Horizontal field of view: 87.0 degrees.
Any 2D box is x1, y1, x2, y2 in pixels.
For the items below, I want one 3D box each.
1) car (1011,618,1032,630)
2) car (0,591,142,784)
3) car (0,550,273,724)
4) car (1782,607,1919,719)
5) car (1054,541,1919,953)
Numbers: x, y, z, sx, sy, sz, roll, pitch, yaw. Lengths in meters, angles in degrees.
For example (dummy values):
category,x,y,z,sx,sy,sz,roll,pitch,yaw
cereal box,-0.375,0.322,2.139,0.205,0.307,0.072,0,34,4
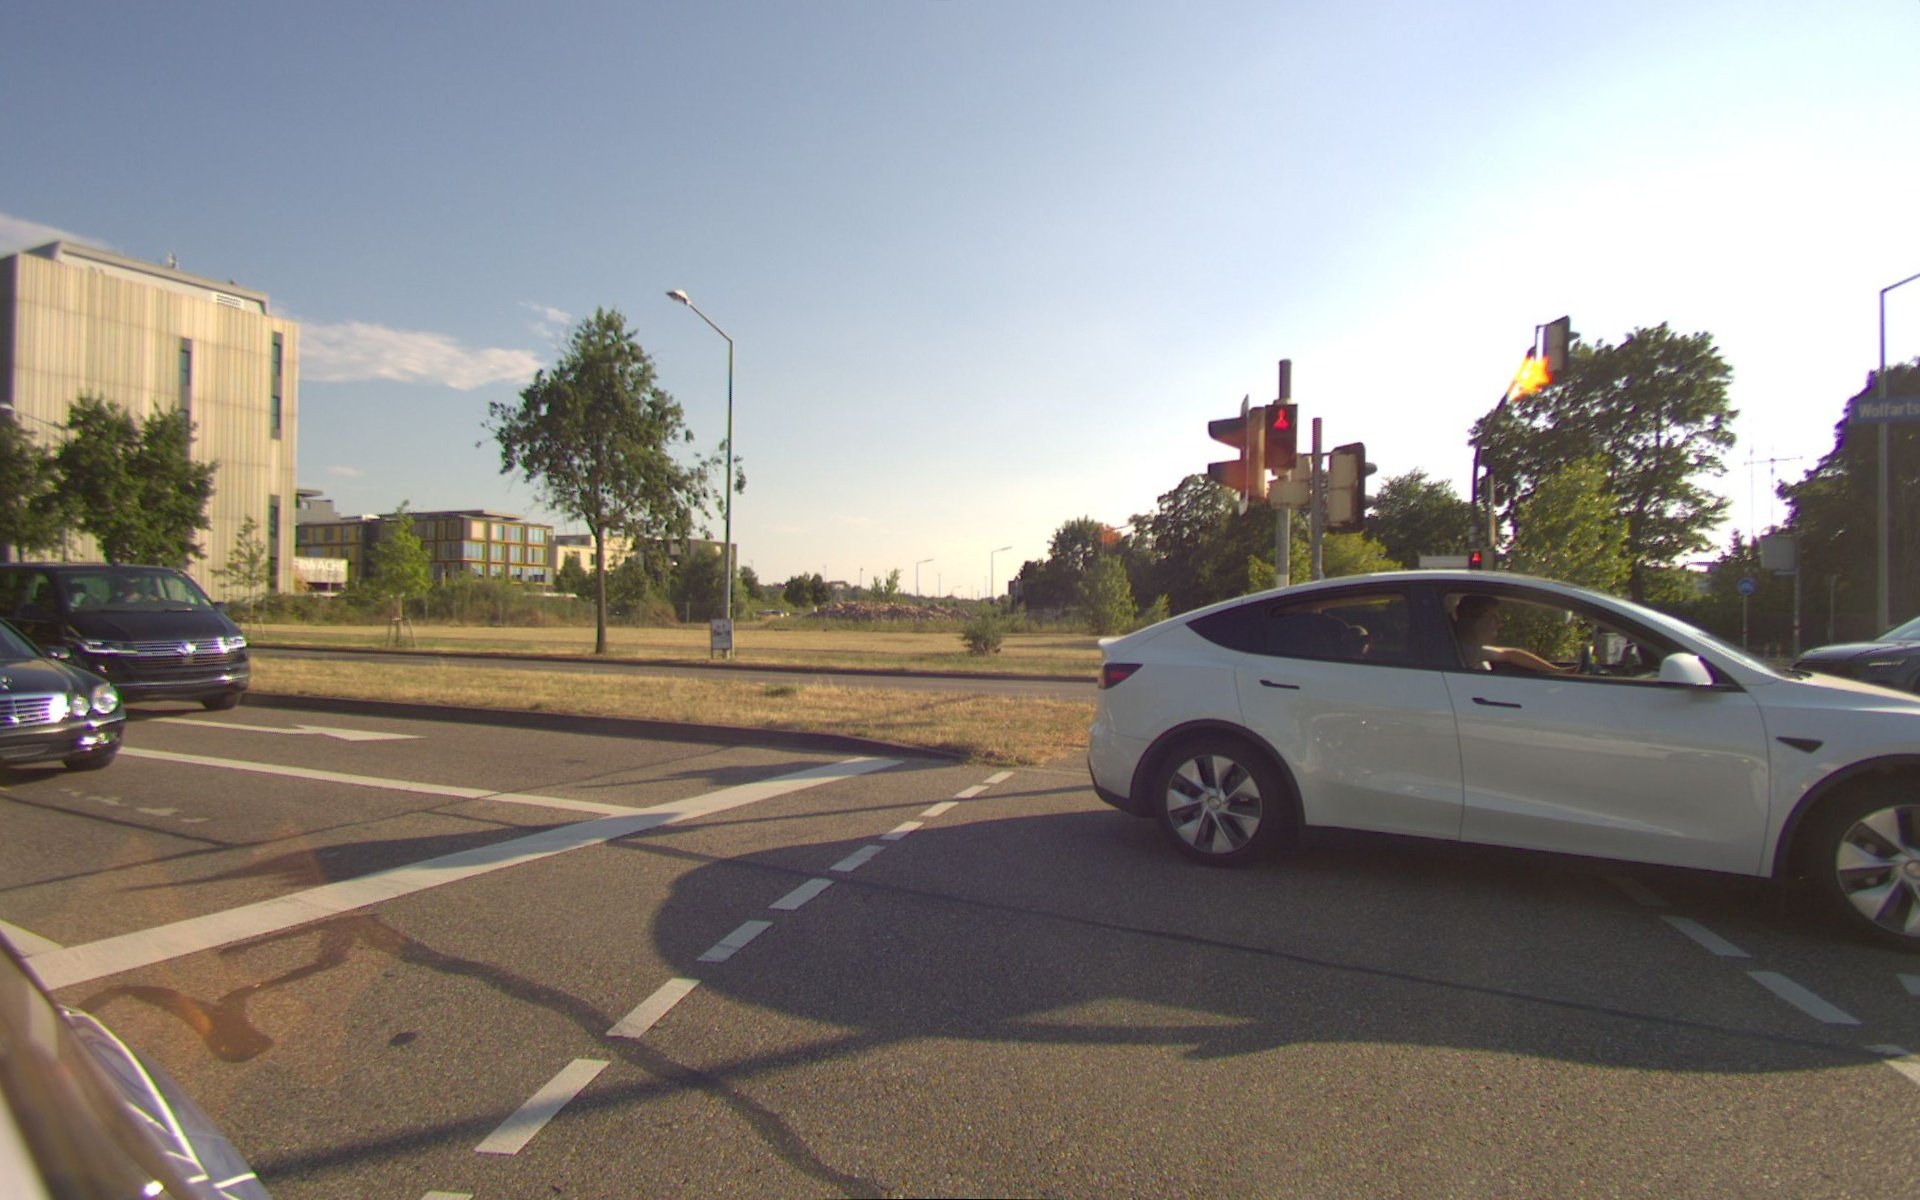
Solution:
category,x,y,z,sx,sy,sz,roll,pitch,yaw
car,6.912,2.668,114.155,1.313,1.302,2.813,1,-1,-21
car,-9.173,0.674,8.675,4.473,1.447,1.794,0,0,29
car,-11.454,0.401,13.254,4.986,1.946,1.846,0,0,26
car,14.807,0.893,14.513,4.581,1.524,1.652,0,-2,2
car,2.977,0.576,5.380,4.657,1.611,1.723,0,0,29
